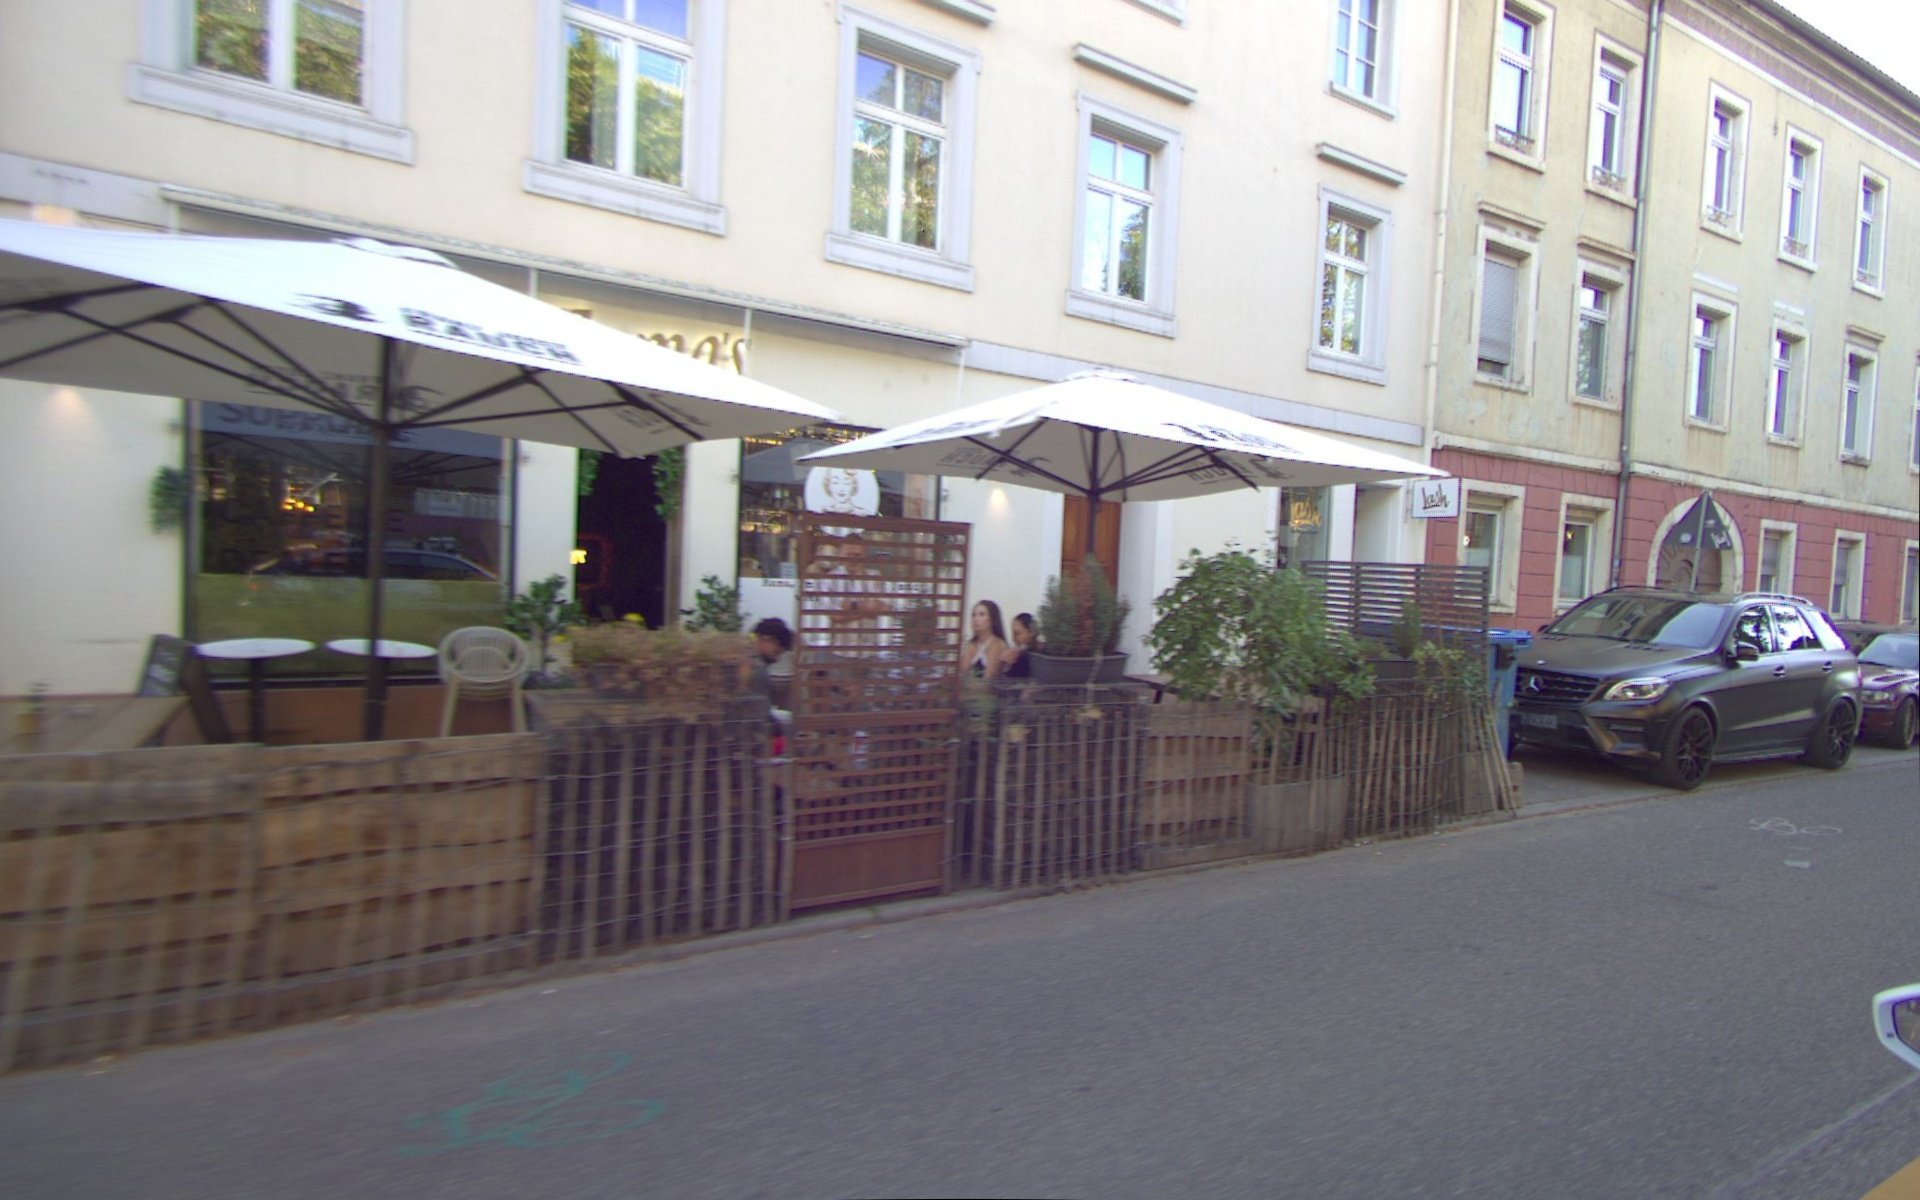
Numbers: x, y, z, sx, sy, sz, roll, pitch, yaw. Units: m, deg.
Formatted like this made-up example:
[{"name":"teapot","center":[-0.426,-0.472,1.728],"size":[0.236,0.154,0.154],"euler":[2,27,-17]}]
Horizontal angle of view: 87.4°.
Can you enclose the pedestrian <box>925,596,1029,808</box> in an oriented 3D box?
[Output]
[{"name":"pedestrian","center":[0.116,0.695,7.109],"size":[0.483,1.410,0.520],"euler":[1,2,-34]}]

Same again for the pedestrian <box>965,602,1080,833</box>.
[{"name":"pedestrian","center":[0.401,0.733,6.563],"size":[0.483,1.410,0.520],"euler":[1,2,-34]}]

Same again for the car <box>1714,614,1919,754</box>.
[{"name":"car","center":[11.811,0.999,12.990],"size":[4.374,1.500,1.646],"euler":[2,1,-29]}]

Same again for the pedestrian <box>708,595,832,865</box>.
[{"name":"pedestrian","center":[-1.078,0.693,5.654],"size":[0.483,1.410,0.520],"euler":[1,2,-34]}]

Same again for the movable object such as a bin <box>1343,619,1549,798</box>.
[{"name":"movable object such as a bin","center":[4.052,0.857,8.452],"size":[0.918,1.313,1.212],"euler":[2,1,-26]}]

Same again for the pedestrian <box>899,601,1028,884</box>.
[{"name":"pedestrian","center":[0.011,0.747,5.513],"size":[0.495,1.452,0.469],"euler":[1,2,-26]}]

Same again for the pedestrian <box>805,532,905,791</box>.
[{"name":"pedestrian","center":[-0.765,0.430,7.249],"size":[0.588,1.799,0.437],"euler":[2,2,-18]}]

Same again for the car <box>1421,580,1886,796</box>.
[{"name":"car","center":[7.000,0.746,10.036],"size":[4.727,1.702,1.913],"euler":[2,1,-29]}]

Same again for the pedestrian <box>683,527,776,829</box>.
[{"name":"pedestrian","center":[-1.460,0.462,6.322],"size":[0.433,1.799,0.594],"euler":[1,2,-22]}]
